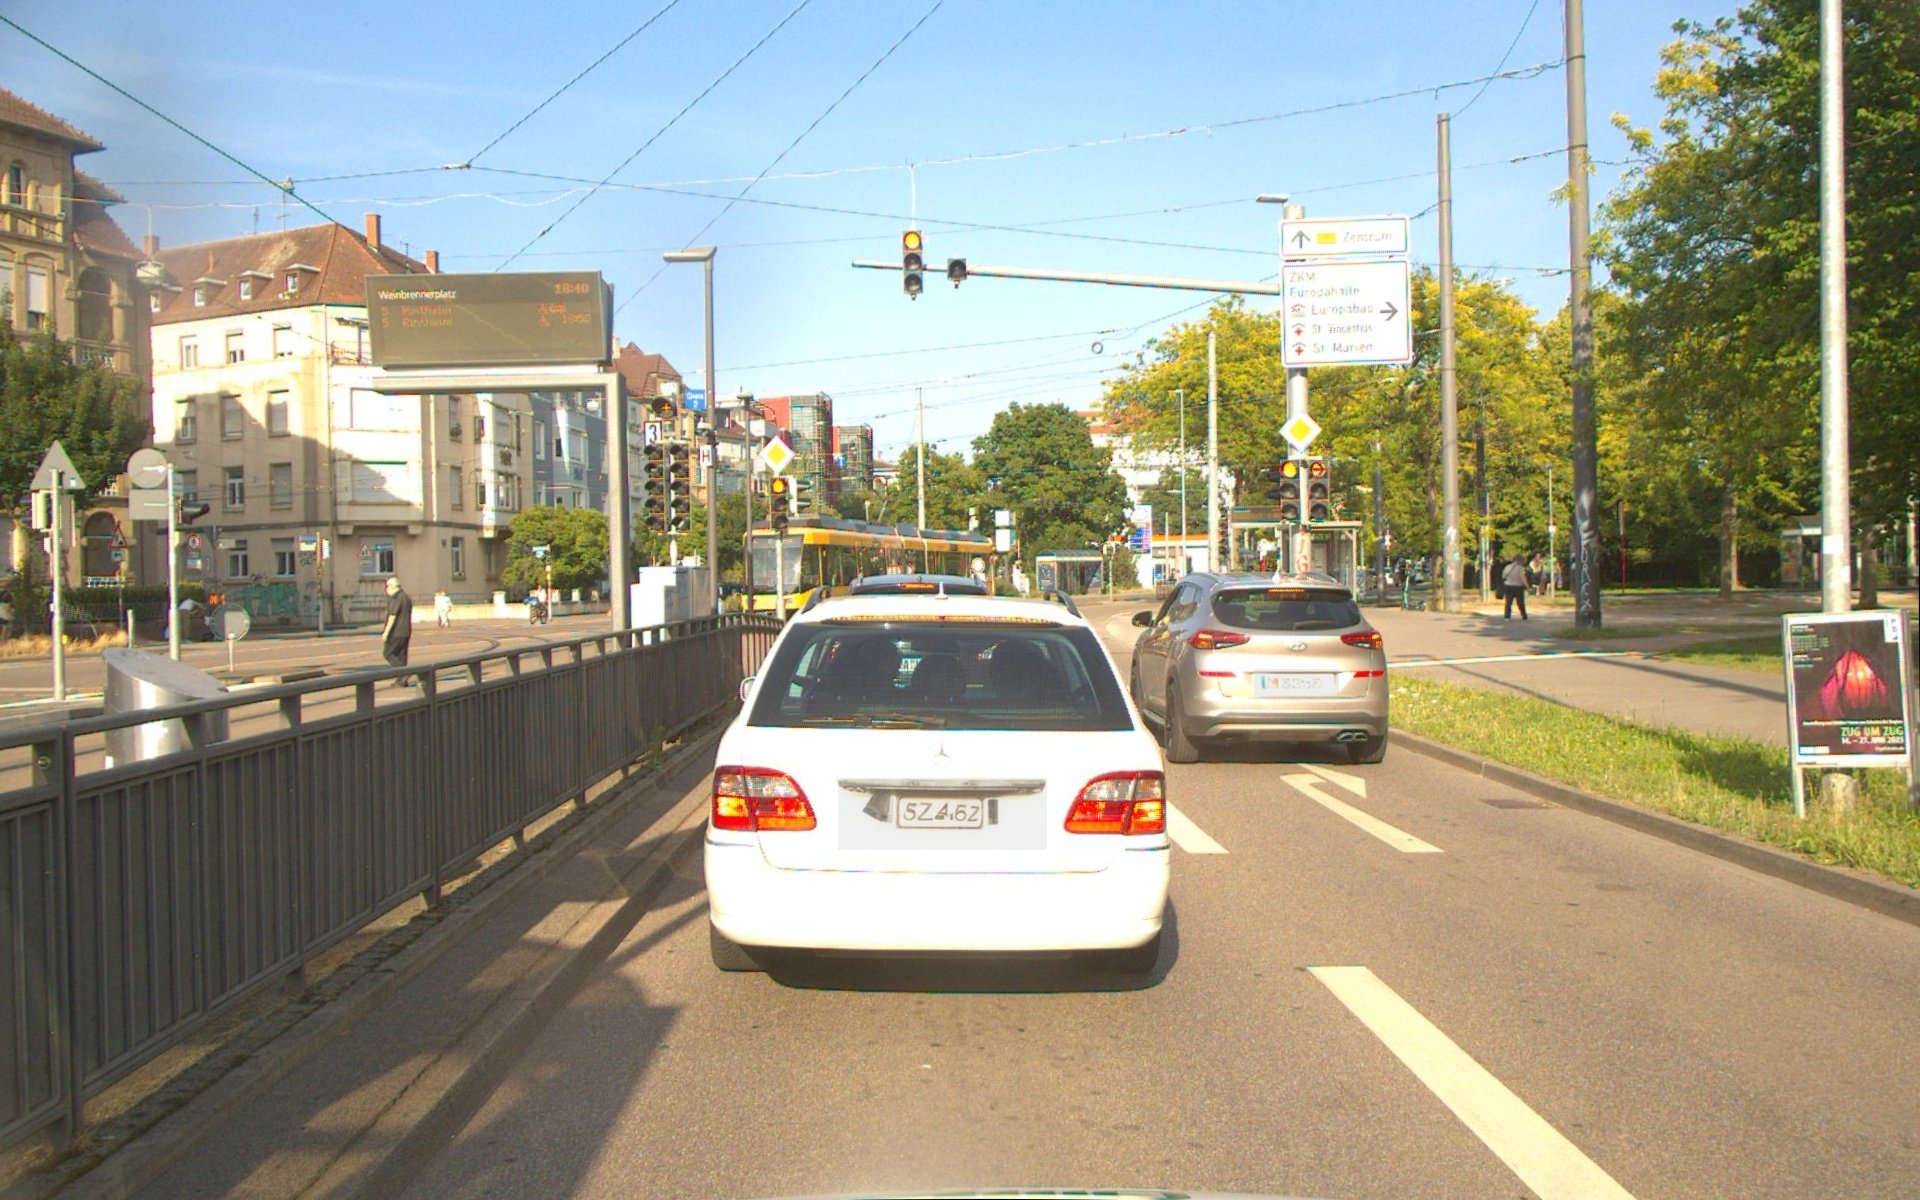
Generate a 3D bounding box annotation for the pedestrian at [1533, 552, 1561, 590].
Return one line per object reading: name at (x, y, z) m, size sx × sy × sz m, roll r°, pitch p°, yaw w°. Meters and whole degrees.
pedestrian at (24.151, -1.185, 68.059) m, size 0.799 × 1.513 × 0.698 m, roll -2°, pitch 0°, yaw -12°

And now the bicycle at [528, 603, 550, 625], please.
bicycle at (-17.465, 0.586, 68.634) m, size 0.515 × 0.849 × 1.686 m, roll -1°, pitch 1°, yaw -1°

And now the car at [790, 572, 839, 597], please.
car at (-12.081, -1.266, 137.397) m, size 3.907 × 2.049 × 1.999 m, roll 1°, pitch 0°, yaw -3°

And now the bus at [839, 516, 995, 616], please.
bus at (-1.480, -1.242, 66.818) m, size 3.042 × 3.669 × 12.600 m, roll 1°, pitch 0°, yaw 14°

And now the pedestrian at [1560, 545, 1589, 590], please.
pedestrian at (25.172, -1.316, 67.729) m, size 0.784 × 1.816 × 0.838 m, roll -1°, pitch 0°, yaw -6°

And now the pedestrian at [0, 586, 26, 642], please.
pedestrian at (-26.045, 0.382, 45.404) m, size 0.428 × 1.527 × 0.549 m, roll -1°, pitch 0°, yaw 13°

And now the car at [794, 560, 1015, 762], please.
car at (-0.506, 0.500, 15.840) m, size 1.847 × 1.680 × 3.647 m, roll 1°, pitch 0°, yaw -1°

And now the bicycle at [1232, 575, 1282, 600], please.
bicycle at (15.237, -0.642, 84.827) m, size 2.430 × 1.234 × 0.807 m, roll -1°, pitch 0°, yaw 7°

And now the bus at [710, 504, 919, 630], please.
bus at (-4.464, -0.948, 54.657) m, size 3.042 × 3.669 × 12.384 m, roll 1°, pitch 0°, yaw 14°

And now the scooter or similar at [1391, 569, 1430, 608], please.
scooter or similar at (13.370, -0.335, 49.097) m, size 0.413 × 1.136 × 1.322 m, roll -2°, pitch 1°, yaw -21°

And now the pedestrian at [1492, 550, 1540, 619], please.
pedestrian at (13.505, -0.374, 40.183) m, size 0.748 × 1.665 × 0.797 m, roll -2°, pitch 1°, yaw -41°

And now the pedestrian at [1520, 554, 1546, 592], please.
pedestrian at (23.349, -1.117, 67.431) m, size 0.809 × 1.513 × 0.689 m, roll -2°, pitch 1°, yaw -43°

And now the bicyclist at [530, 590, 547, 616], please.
bicyclist at (-17.472, 0.130, 68.518) m, size 0.502 × 1.062 × 0.679 m, roll -1°, pitch 0°, yaw -2°

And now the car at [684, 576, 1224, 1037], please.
car at (-0.056, 0.653, 7.217) m, size 1.759 × 1.496 × 3.647 m, roll 0°, pitch 1°, yaw -1°

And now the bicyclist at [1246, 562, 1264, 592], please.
bicyclist at (15.113, -1.172, 84.791) m, size 0.842 × 1.507 × 0.790 m, roll -1°, pitch 0°, yaw 6°

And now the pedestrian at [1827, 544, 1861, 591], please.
pedestrian at (31.863, -1.157, 59.636) m, size 0.818 × 1.665 × 0.803 m, roll -1°, pitch 0°, yaw 5°

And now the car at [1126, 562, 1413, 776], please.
car at (2.694, 0.538, 15.223) m, size 1.847 × 1.680 × 3.647 m, roll -2°, pitch 1°, yaw -1°

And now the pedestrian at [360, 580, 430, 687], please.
pedestrian at (-9.052, 0.528, 26.493) m, size 0.744 × 1.674 × 0.788 m, roll -1°, pitch 1°, yaw 45°

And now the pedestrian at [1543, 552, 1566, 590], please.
pedestrian at (23.906, -1.162, 66.541) m, size 0.796 × 1.513 × 0.700 m, roll -1°, pitch 0°, yaw 23°

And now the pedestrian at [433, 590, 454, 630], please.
pedestrian at (-21.039, 0.404, 67.395) m, size 0.616 × 1.568 × 0.710 m, roll -1°, pitch 0°, yaw -2°
